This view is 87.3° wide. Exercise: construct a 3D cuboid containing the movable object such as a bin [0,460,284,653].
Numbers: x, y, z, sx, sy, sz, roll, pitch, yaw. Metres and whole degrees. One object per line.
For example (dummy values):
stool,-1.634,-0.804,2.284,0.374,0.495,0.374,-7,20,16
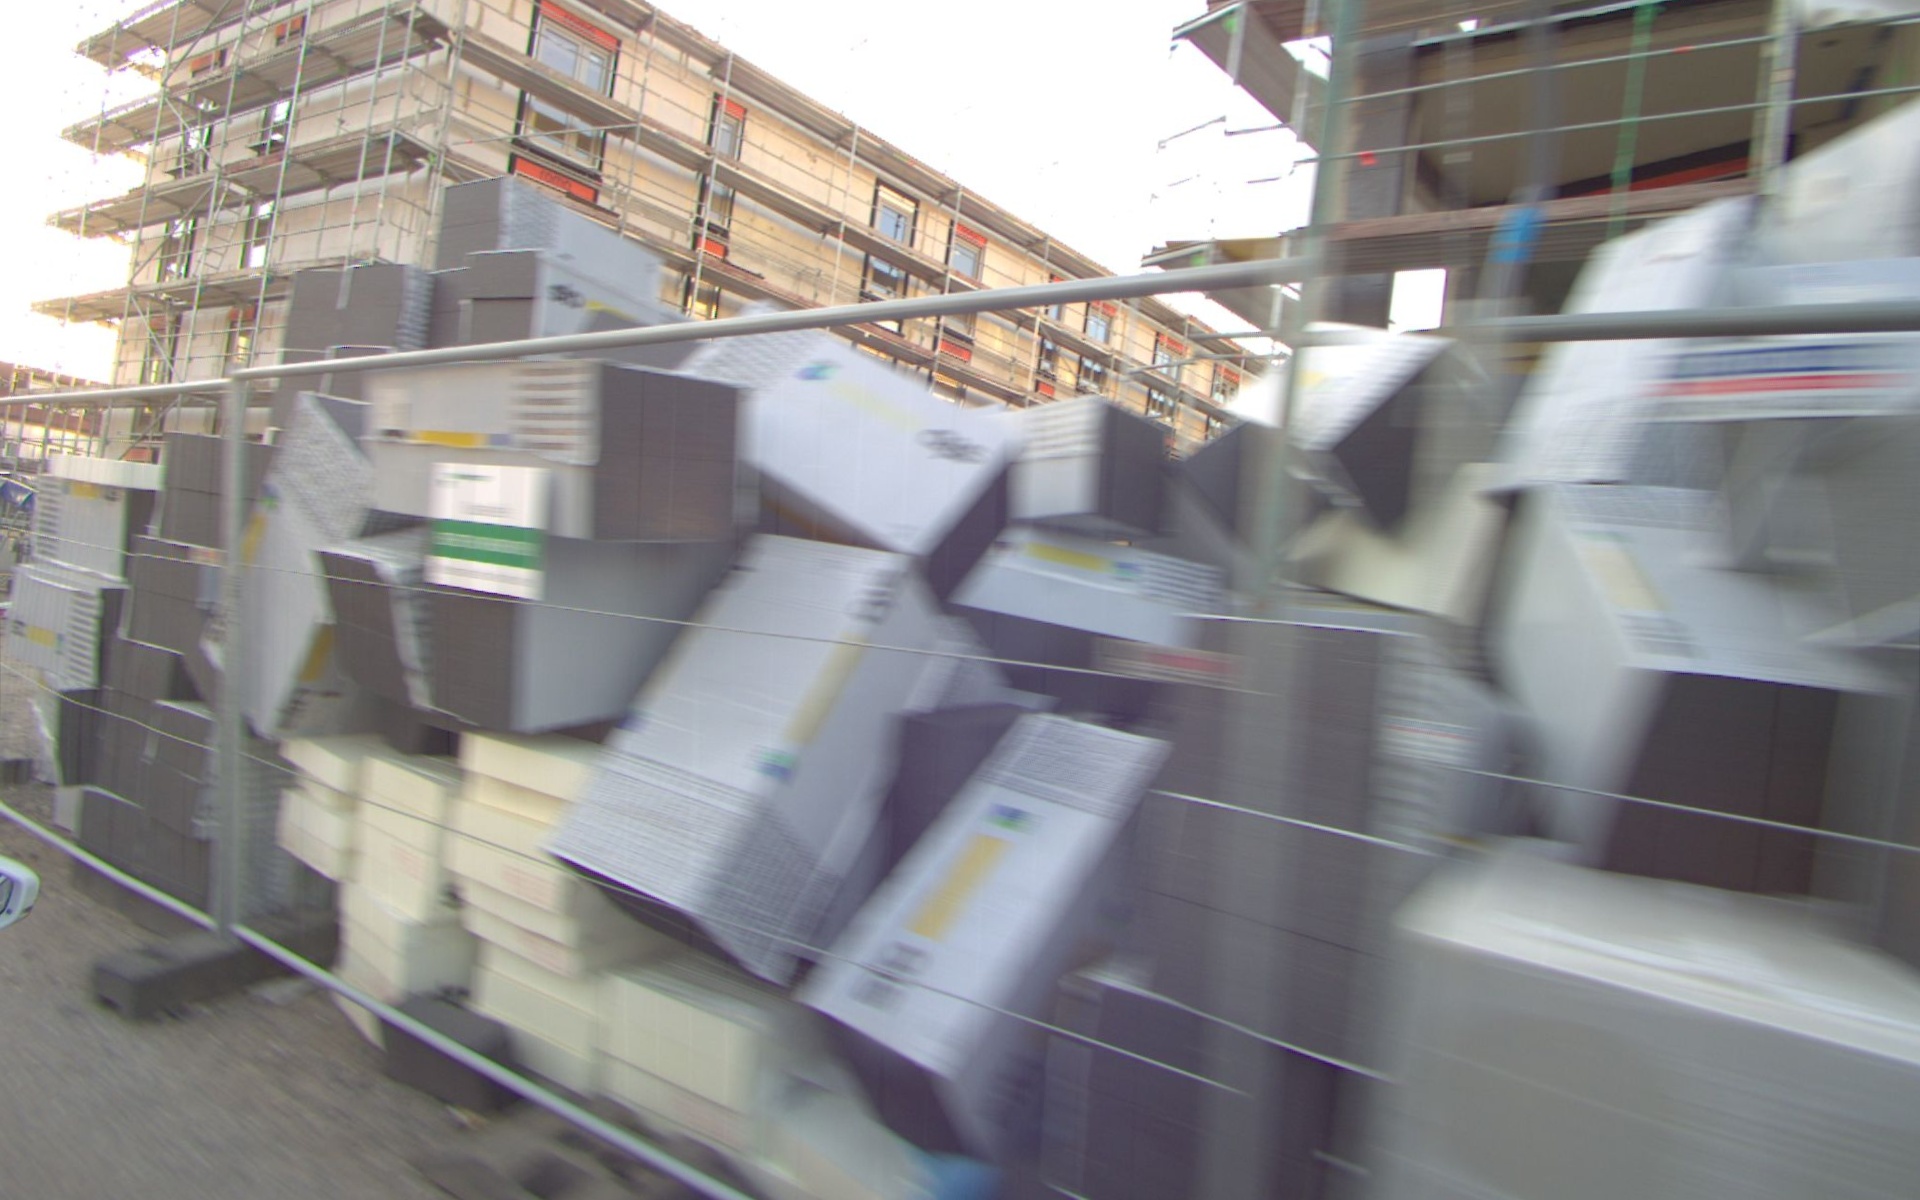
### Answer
movable object such as a bin,-13.881,-0.842,15.973,8.233,2.300,2.068,6,-2,34
